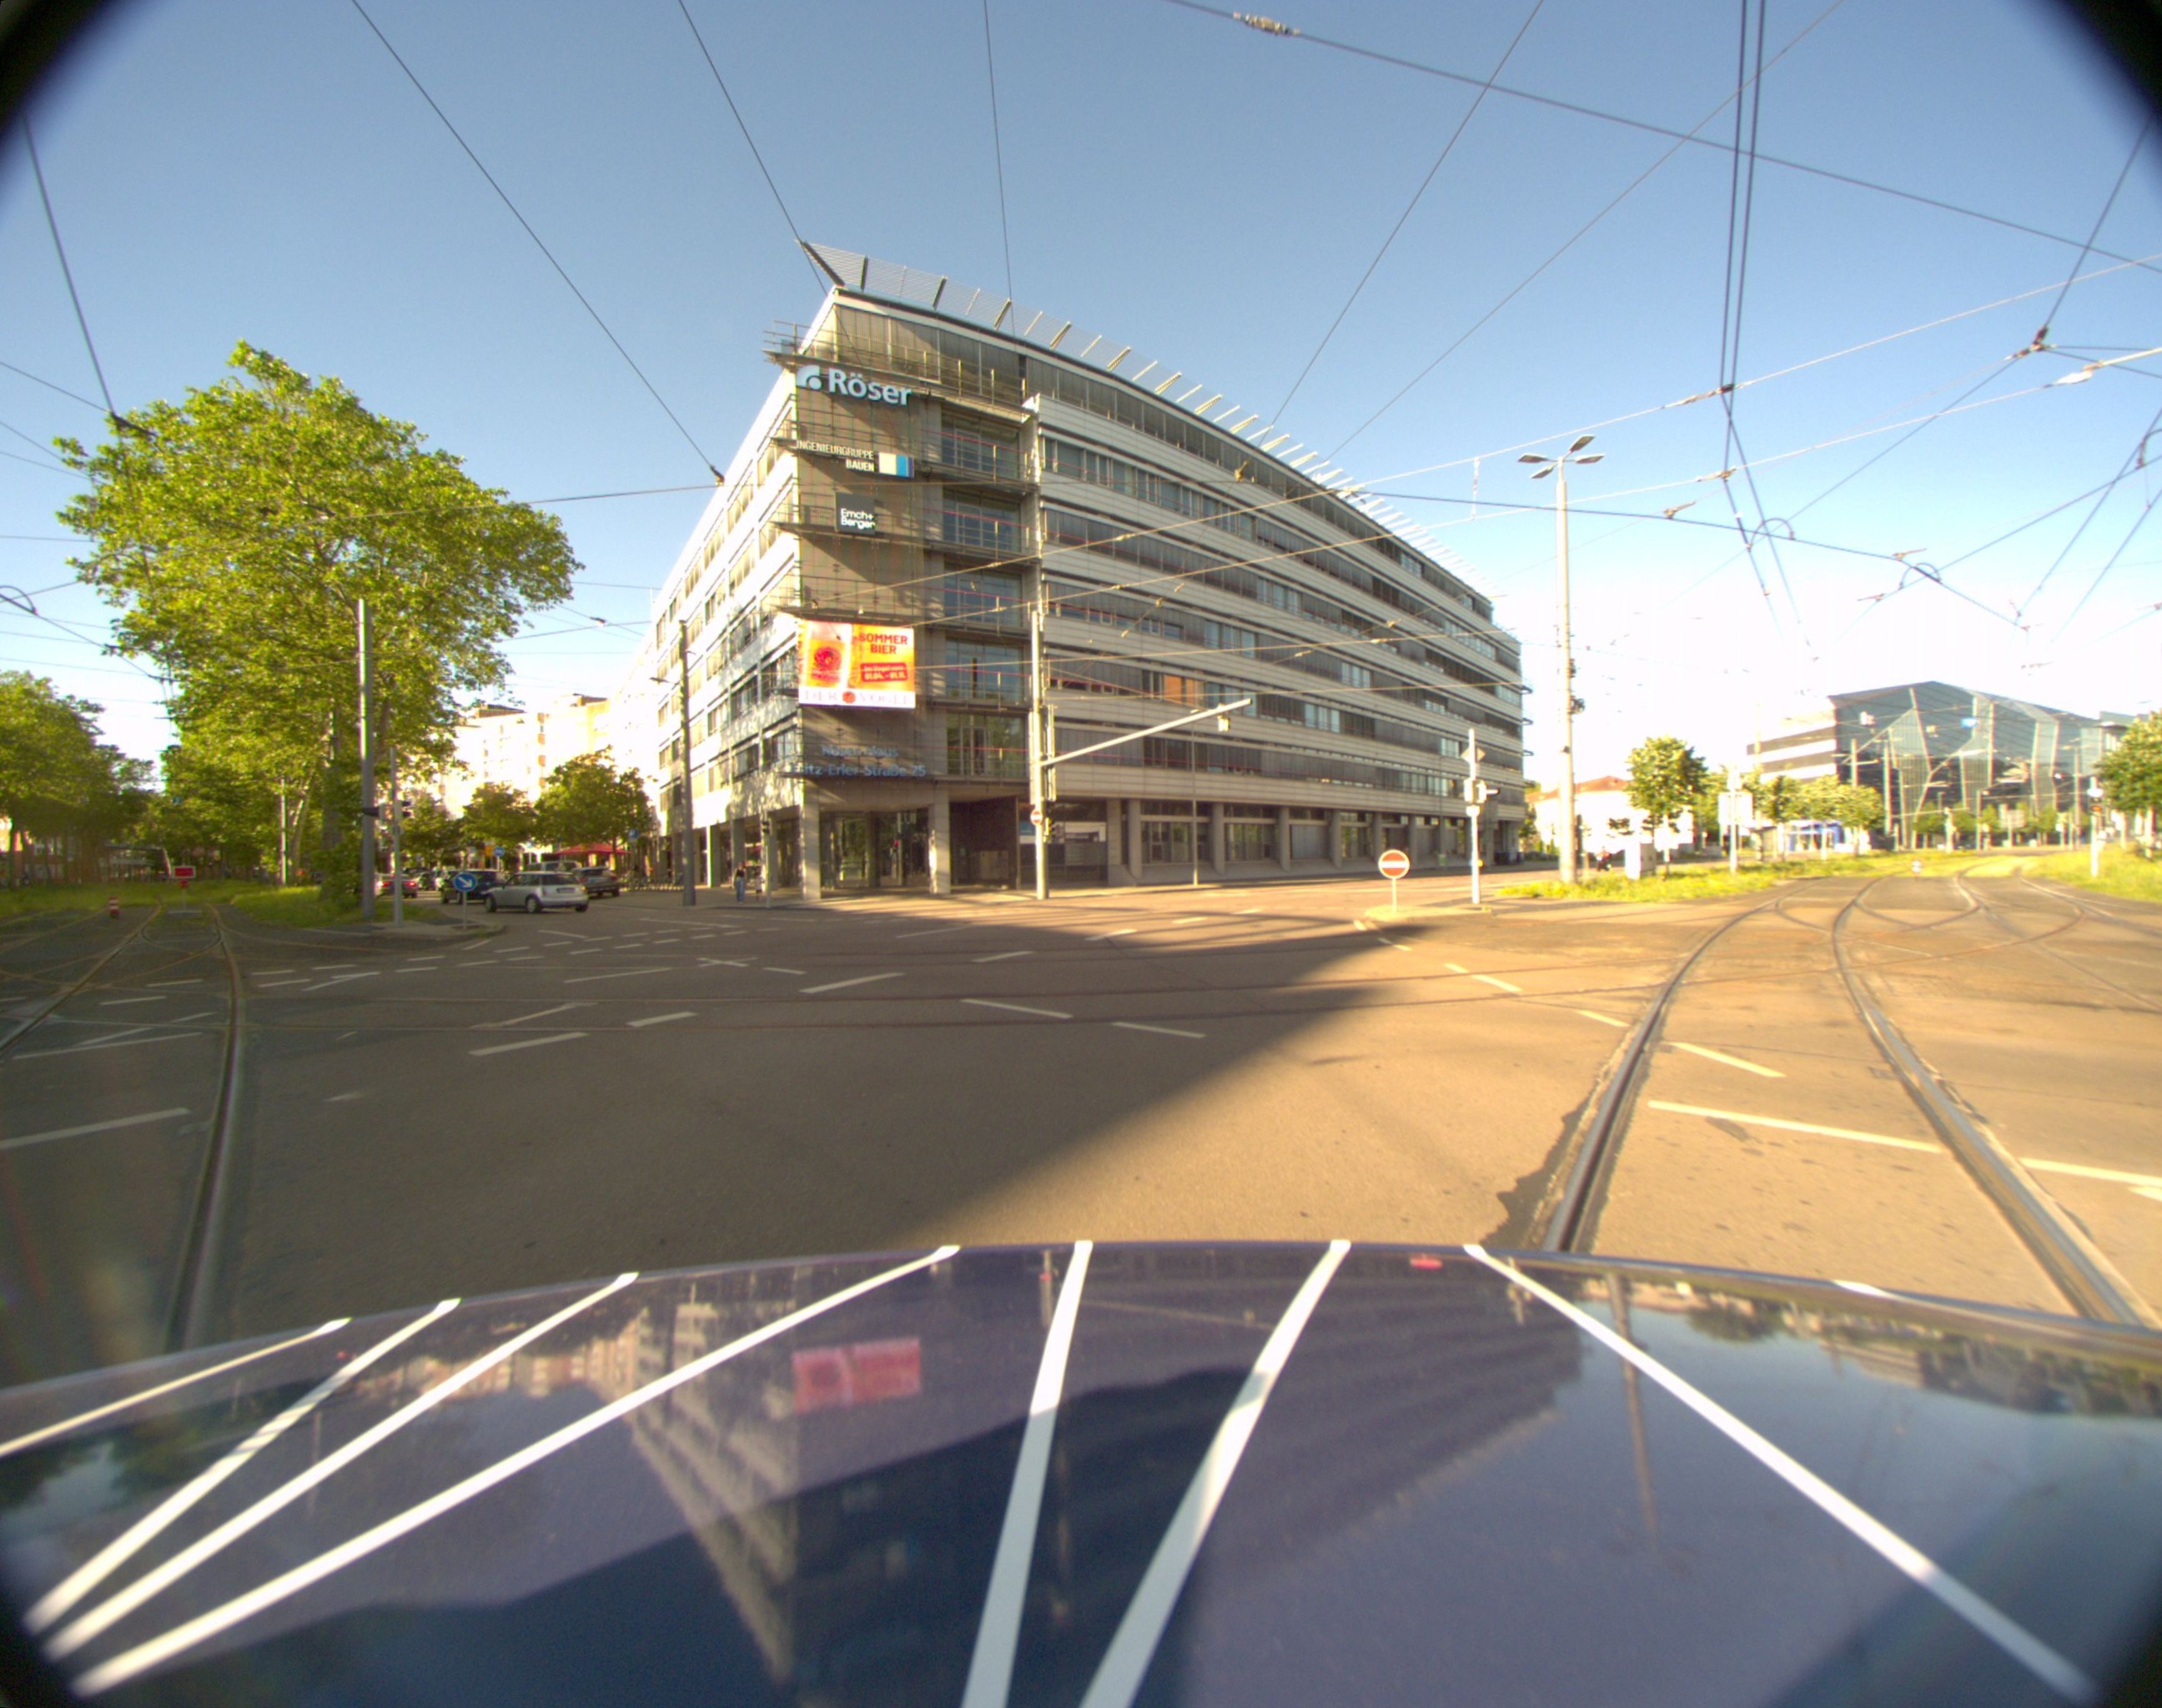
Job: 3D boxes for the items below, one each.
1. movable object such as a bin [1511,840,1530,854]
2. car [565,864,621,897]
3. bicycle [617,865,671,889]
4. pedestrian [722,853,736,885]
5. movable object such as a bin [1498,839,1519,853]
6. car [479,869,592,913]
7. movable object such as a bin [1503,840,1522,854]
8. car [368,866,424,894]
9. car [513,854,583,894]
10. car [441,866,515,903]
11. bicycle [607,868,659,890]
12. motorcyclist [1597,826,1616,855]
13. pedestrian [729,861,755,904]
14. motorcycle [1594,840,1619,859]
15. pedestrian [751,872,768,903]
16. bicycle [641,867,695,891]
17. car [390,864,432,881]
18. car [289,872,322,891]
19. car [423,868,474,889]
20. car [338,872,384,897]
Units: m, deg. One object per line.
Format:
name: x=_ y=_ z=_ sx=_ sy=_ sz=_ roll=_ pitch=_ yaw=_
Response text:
movable object such as a bin: x=42.443 y=-0.702 z=73.322 sx=1.331 sy=1.293 sz=1.171 roll=-2 pitch=0 yaw=-39
car: x=-23.521 y=1.245 z=36.555 sx=1.871 sy=1.466 sz=3.967 roll=-2 pitch=0 yaw=-38
bicycle: x=-23.502 y=1.234 z=40.905 sx=0.773 sy=1.206 sz=2.400 roll=-2 pitch=-1 yaw=33
pedestrian: x=-19.414 y=0.854 z=41.906 sx=0.588 sy=1.723 sz=0.791 roll=-2 pitch=-1 yaw=-31
movable object such as a bin: x=39.361 y=-0.717 z=69.921 sx=1.176 sy=1.293 sz=1.325 roll=-2 pitch=0 yaw=-39
car: x=-18.355 y=1.217 z=25.564 sx=3.527 sy=1.380 sz=1.670 roll=-1 pitch=-1 yaw=28
movable object such as a bin: x=41.256 y=-0.715 z=72.646 sx=1.331 sy=1.293 sz=1.171 roll=-2 pitch=0 yaw=-39
car: x=-38.686 y=1.462 z=42.877 sx=4.008 sy=1.432 sz=1.704 roll=-2 pitch=0 yaw=39
car: x=-28.147 y=1.050 z=40.081 sx=4.445 sy=2.004 sz=1.871 roll=-1 pitch=0 yaw=40
car: x=-25.858 y=1.269 z=32.546 sx=3.966 sy=1.466 sz=1.871 roll=-1 pitch=0 yaw=43
bicycle: x=-25.480 y=1.430 z=43.245 sx=0.773 sy=1.206 sz=2.400 roll=-2 pitch=-1 yaw=33
motorcyclist: x=34.039 y=-0.896 z=49.207 sx=1.114 sy=1.846 sz=0.819 roll=-2 pitch=1 yaw=-42
pedestrian: x=-13.165 y=1.104 z=29.484 sx=0.662 sy=1.630 sz=0.791 roll=-1 pitch=-1 yaw=-43
motorcycle: x=34.017 y=-0.285 z=49.190 sx=2.260 sy=1.214 sz=0.819 roll=-2 pitch=1 yaw=-42
pedestrian: x=-12.646 y=1.302 z=29.886 sx=0.444 sy=1.203 sz=0.460 roll=-1 pitch=-1 yaw=-43
bicycle: x=-21.945 y=1.321 z=40.384 sx=2.399 sy=1.206 sz=0.773 roll=-1 pitch=-1 yaw=-36
car: x=-59.129 y=1.634 z=67.031 sx=3.966 sy=1.466 sz=1.871 roll=-1 pitch=0 yaw=35
car: x=-79.419 y=2.783 z=77.832 sx=4.304 sy=1.758 sz=1.827 roll=-3 pitch=-1 yaw=37
car: x=-46.337 y=1.781 z=55.638 sx=3.966 sy=1.466 sz=1.871 roll=-1 pitch=0 yaw=35
car: x=-46.871 y=1.966 z=49.446 sx=3.970 sy=1.466 sz=1.704 roll=-1 pitch=0 yaw=40
